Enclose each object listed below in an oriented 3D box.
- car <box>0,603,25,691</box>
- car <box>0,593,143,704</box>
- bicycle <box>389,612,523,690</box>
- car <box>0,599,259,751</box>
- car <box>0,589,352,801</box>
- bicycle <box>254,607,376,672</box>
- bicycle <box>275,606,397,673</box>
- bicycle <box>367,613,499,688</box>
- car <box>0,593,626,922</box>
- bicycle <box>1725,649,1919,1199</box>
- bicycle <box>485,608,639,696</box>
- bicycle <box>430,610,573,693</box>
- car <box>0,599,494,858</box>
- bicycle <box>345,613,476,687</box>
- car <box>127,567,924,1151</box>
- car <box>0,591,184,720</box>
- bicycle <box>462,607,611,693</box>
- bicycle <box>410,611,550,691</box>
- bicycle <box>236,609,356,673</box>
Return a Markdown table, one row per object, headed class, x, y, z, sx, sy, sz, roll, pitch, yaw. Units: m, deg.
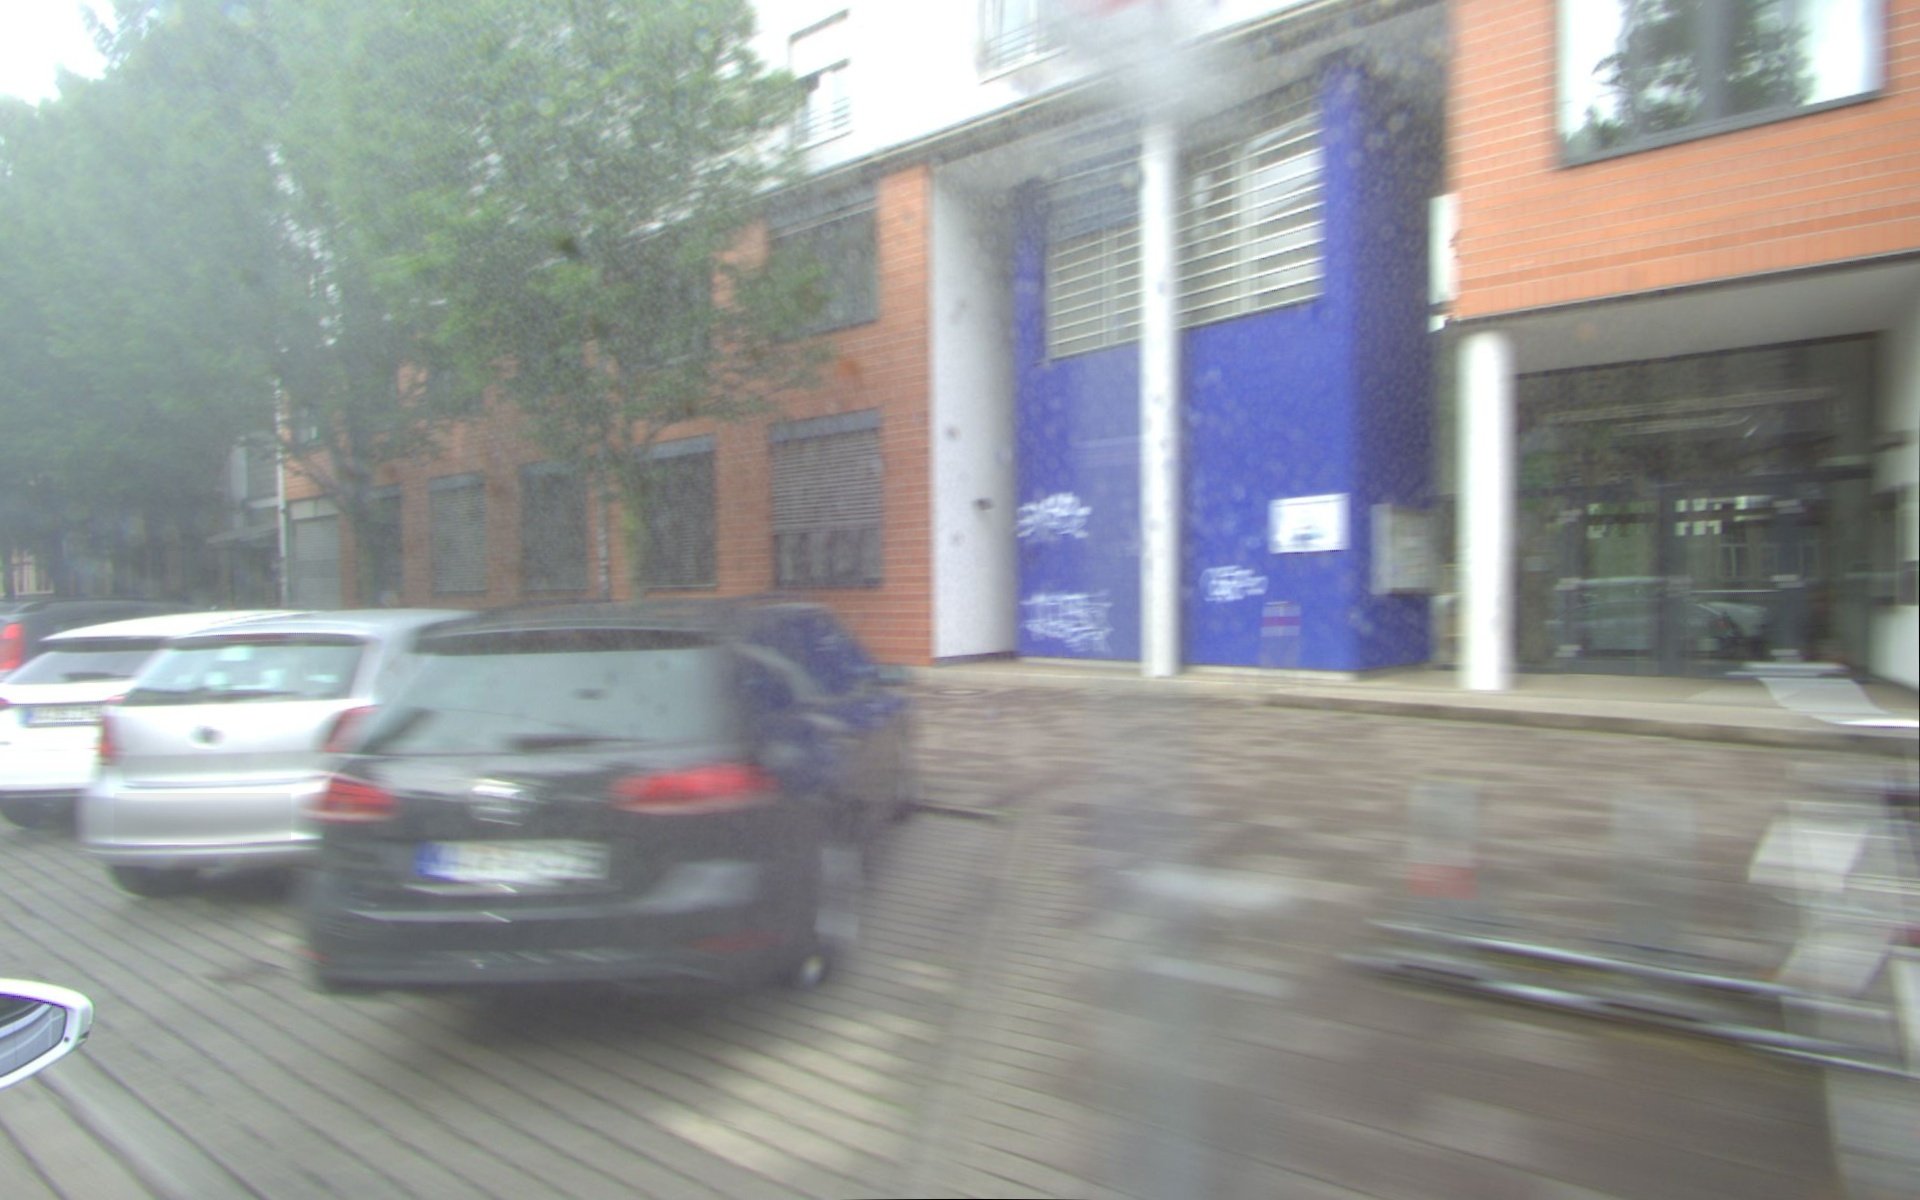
| class | x | y | z | sx | sy | sz | roll | pitch | yaw |
| --- | --- | --- | --- | --- | --- | --- | --- | --- | --- |
| car | -17.365 | 0.841 | 15.800 | 1.737 | 1.525 | 3.862 | -1 | 1 | -4 |
| car | -14.723 | 0.712 | 14.856 | 1.737 | 1.606 | 4.059 | -1 | 1 | 2 |
| bicycle | -7.565 | 0.734 | 15.110 | 0.558 | 1.106 | 1.747 | -1 | -1 | 35 |
| car | -10.491 | 0.768 | 11.762 | 1.649 | 1.506 | 4.059 | -1 | 1 | 0 |
| car | -8.076 | 0.724 | 9.523 | 1.866 | 1.606 | 4.059 | -1 | 1 | 4 |
| bicycle | -11.536 | 0.694 | 17.963 | 0.558 | 1.106 | 1.747 | -1 | -1 | 35 |
| bicycle | -10.932 | 0.675 | 17.599 | 0.558 | 1.106 | 1.747 | -1 | -1 | 35 |
| bicycle | -8.172 | 0.756 | 15.590 | 0.558 | 1.106 | 1.747 | -1 | -1 | 35 |
| car | -3.651 | 0.746 | 6.430 | 1.809 | 1.518 | 3.566 | 0 | 0 | 0 |
| bicycle | 2.190 | 0.743 | 2.214 | 0.603 | 1.156 | 1.879 | -1 | 1 | 32 |
| bicycle | -5.303 | 0.666 | 13.455 | 0.569 | 1.106 | 1.927 | -1 | -1 | 35 |
| bicycle | -6.472 | 0.695 | 14.220 | 0.535 | 1.106 | 1.831 | -1 | -1 | 35 |
| car | -5.763 | 0.836 | 8.140 | 1.839 | 1.563 | 3.988 | 1 | -2 | 4 |
| bicycle | -8.689 | 0.772 | 15.893 | 0.558 | 1.106 | 1.747 | -1 | -1 | 35 |
| car | -1.272 | 0.664 | 4.888 | 1.827 | 1.600 | 4.284 | -1 | 2 | 2 |
| car | -12.736 | 0.698 | 13.106 | 1.737 | 1.606 | 4.059 | -1 | 1 | 5 |
| bicycle | -5.792 | 0.660 | 13.800 | 0.535 | 1.106 | 1.890 | -1 | -1 | 35 |
| bicycle | -7.041 | 0.717 | 14.775 | 0.558 | 1.106 | 1.831 | -1 | -1 | 35 |
| bicycle | -12.116 | 0.728 | 18.327 | 0.558 | 1.106 | 1.747 | -1 | -1 | 35 |
